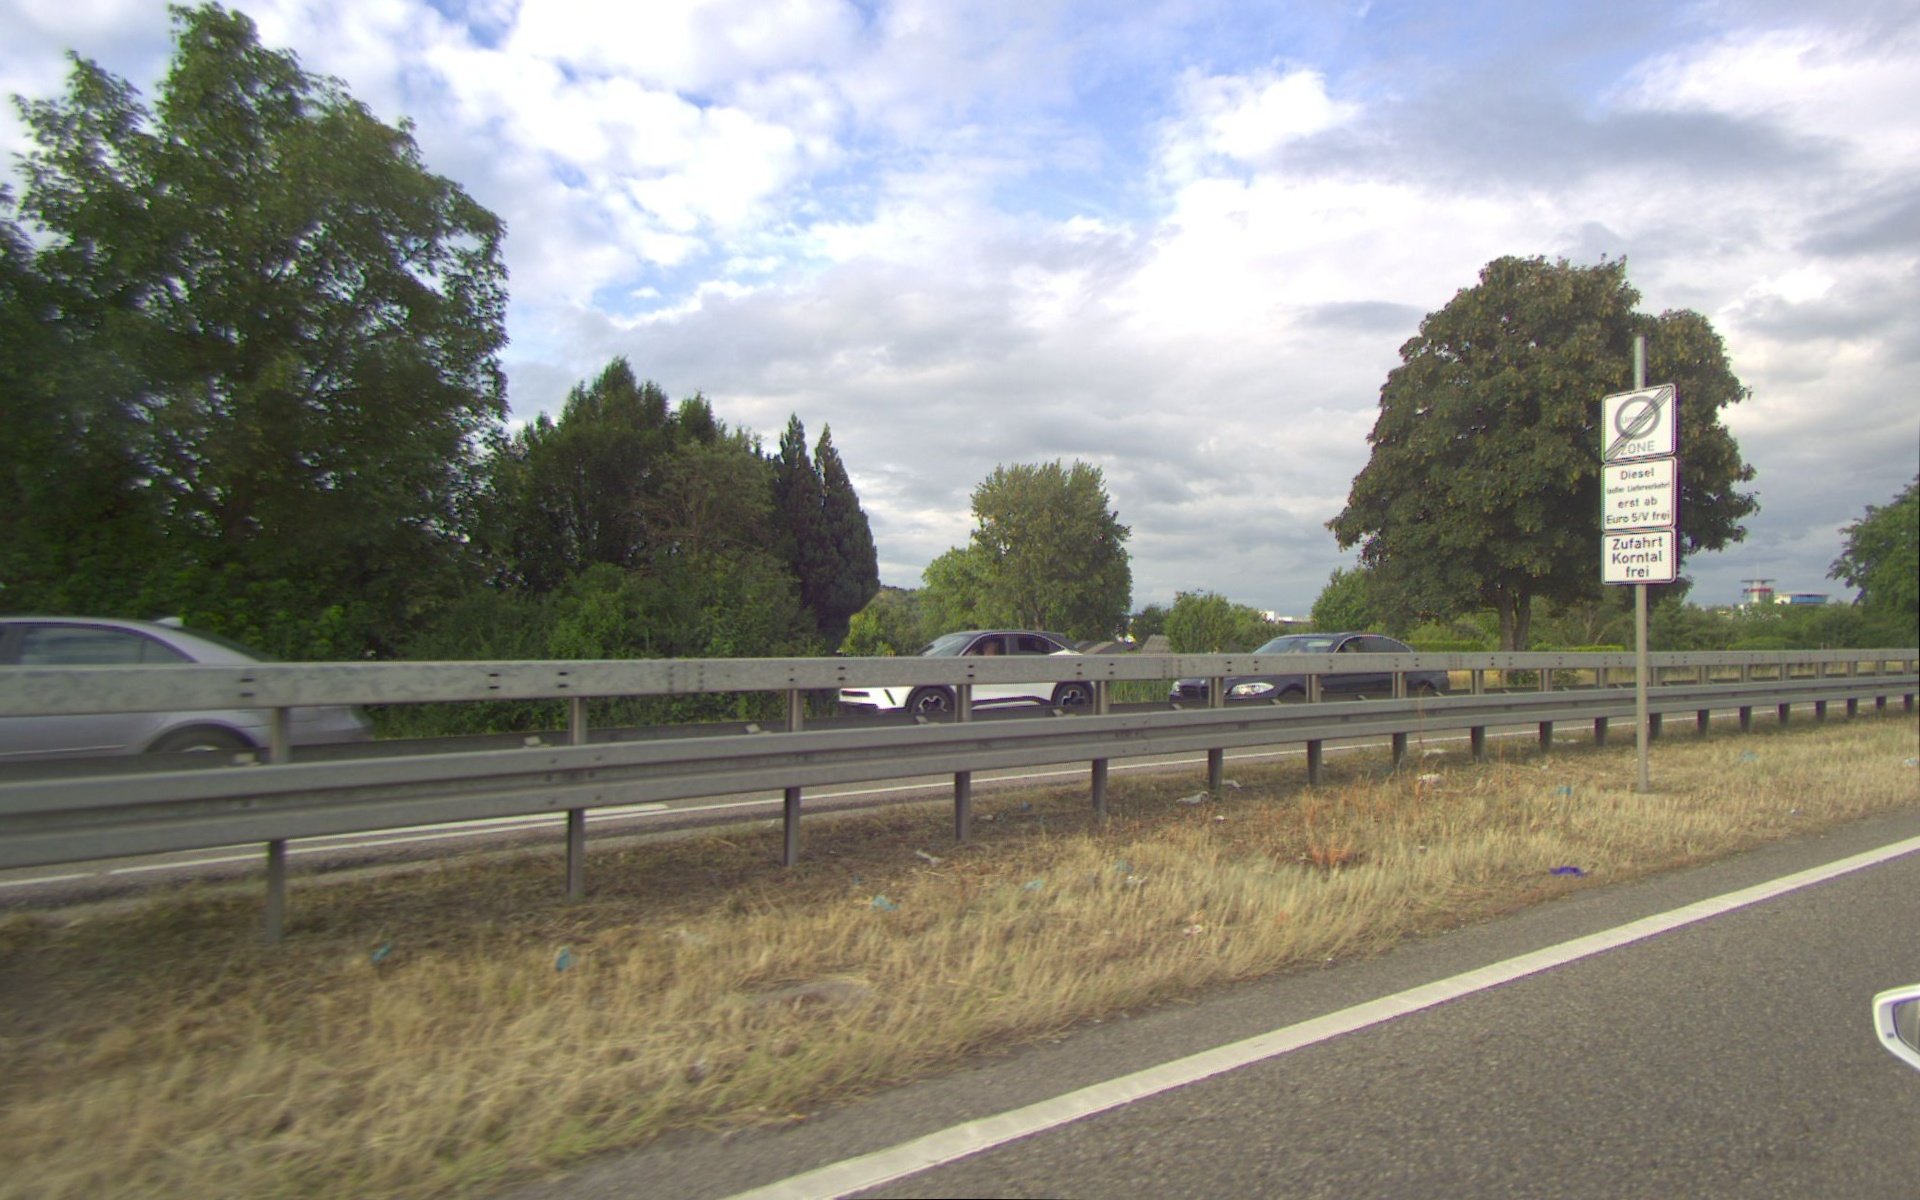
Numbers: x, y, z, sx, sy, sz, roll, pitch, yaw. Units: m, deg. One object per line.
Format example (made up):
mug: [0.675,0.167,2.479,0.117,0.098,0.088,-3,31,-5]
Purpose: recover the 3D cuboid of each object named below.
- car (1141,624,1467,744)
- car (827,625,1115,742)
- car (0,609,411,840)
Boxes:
car: [5.099,1.119,14.648,4.881,1.497,1.857,1,-2,-32]
car: [0.211,1.194,15.481,4.106,1.584,1.857,1,-2,-32]
car: [-6.740,0.834,7.260,4.772,1.497,1.857,1,-2,-32]
